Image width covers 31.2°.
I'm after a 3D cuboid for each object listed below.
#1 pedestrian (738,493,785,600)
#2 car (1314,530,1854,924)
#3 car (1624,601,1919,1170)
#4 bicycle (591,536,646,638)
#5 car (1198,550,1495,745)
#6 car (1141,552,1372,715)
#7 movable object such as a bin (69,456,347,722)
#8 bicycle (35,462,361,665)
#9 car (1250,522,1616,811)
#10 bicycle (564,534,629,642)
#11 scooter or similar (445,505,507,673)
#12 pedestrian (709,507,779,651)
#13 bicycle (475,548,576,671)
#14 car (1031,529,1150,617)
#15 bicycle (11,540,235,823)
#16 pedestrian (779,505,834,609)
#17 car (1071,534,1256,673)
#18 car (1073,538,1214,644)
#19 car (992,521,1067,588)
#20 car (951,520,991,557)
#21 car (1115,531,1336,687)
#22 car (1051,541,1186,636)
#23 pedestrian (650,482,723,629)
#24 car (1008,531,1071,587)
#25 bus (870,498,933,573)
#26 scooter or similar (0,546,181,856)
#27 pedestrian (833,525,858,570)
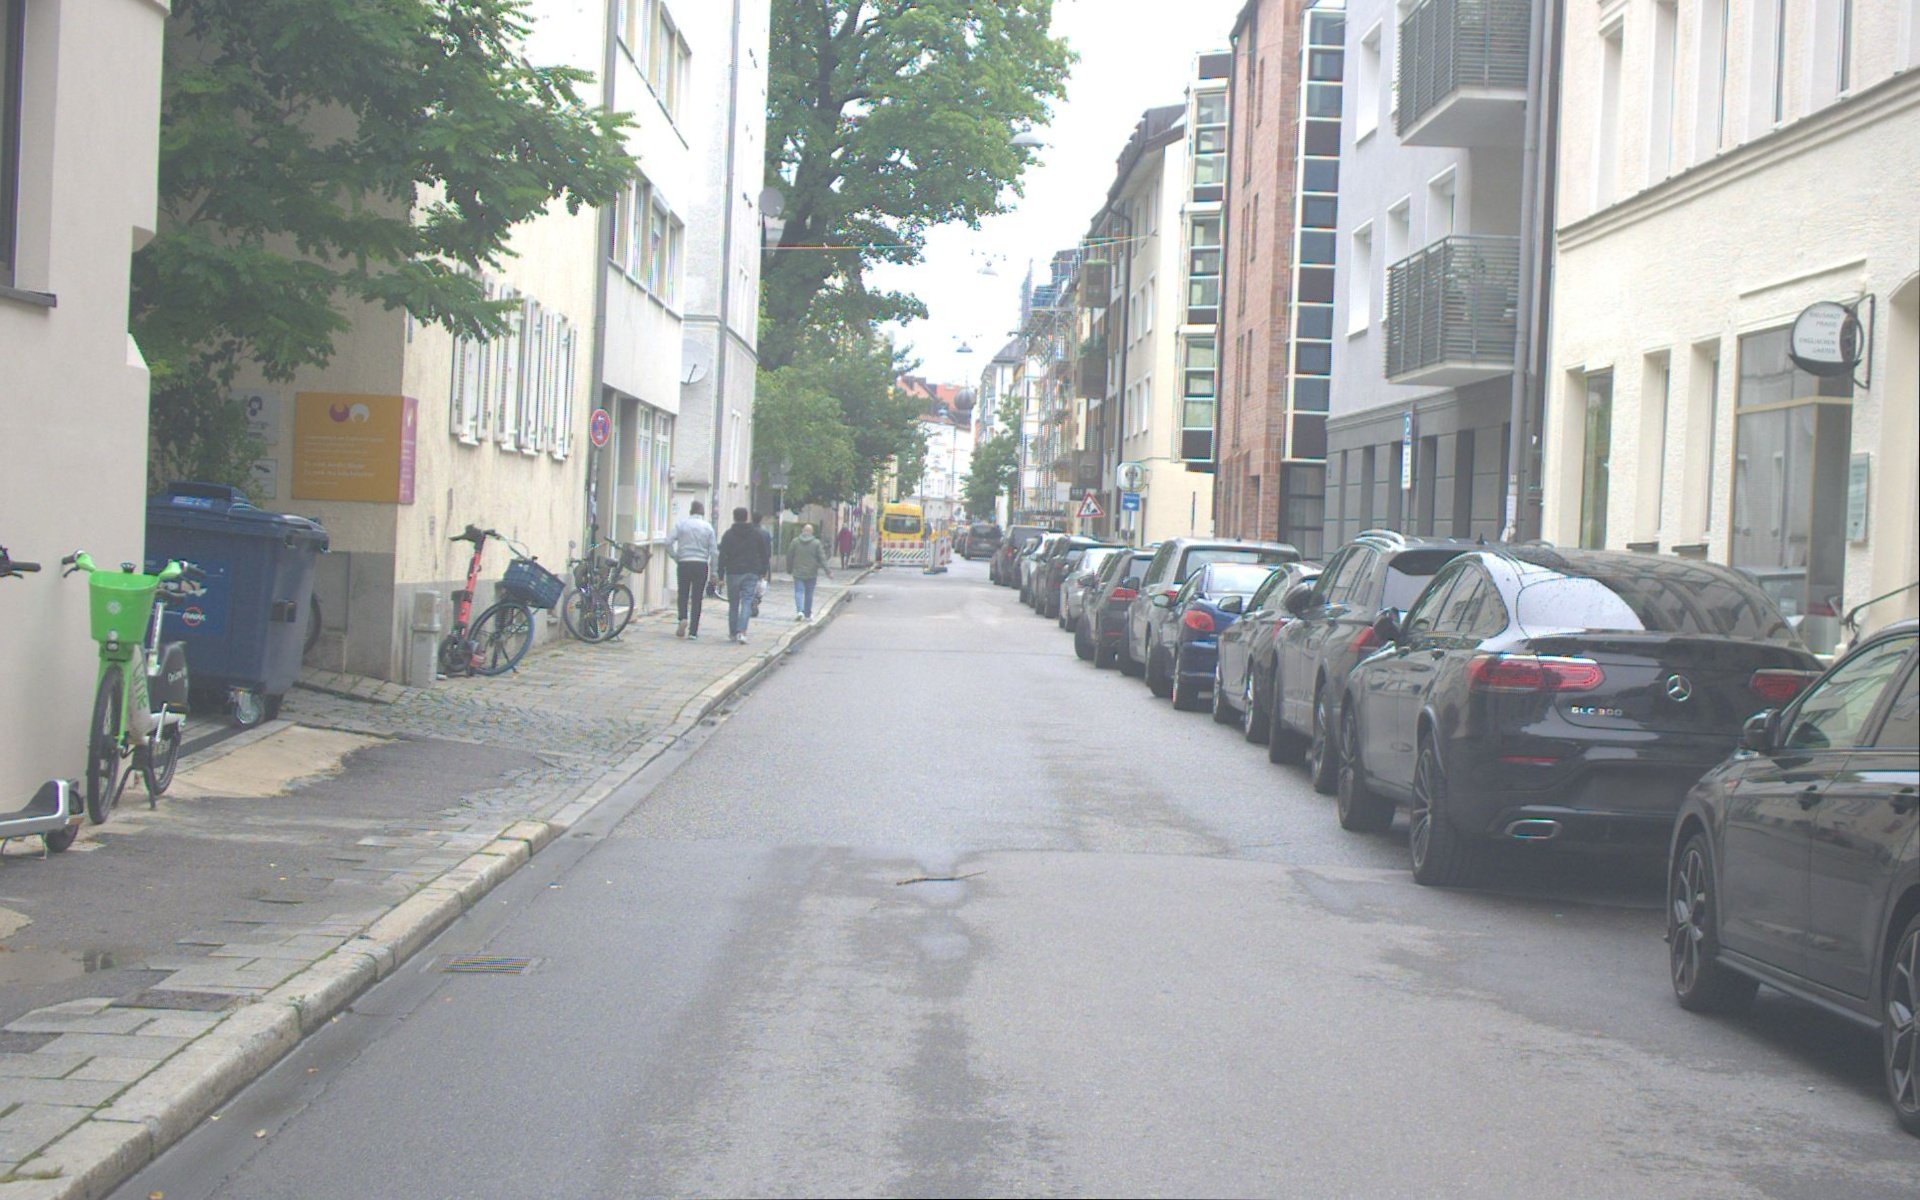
[{"bbox_3d":[-3.292,-0.887,57.043,0.612,1.707,0.823,5,1,-1],"label":"pedestrian"},{"bbox_3d":[2.926,0.502,17.139,1.702,1.601,4.685,3,1,-1],"label":"car"},{"bbox_3d":[3.337,0.785,10.598,1.676,1.388,4.066,3,1,-1],"label":"car"},{"bbox_3d":[-4.028,-0.163,40.486,0.561,1.155,1.721,3,1,-6],"label":"bicycle"},{"bbox_3d":[3.060,0.326,28.032,1.799,1.381,4.349,2,1,-1],"label":"car"},{"bbox_3d":[2.742,0.271,32.568,1.808,1.358,3.945,2,1,0],"label":"car"},{"bbox_3d":[-4.568,-0.087,20.987,1.174,1.437,1.248,8,3,5],"label":"movable object such as a bin"},{"bbox_3d":[-5.621,-0.273,25.424,2.200,1.294,0.514,5,1,-1],"label":"bicycle"},{"bbox_3d":[3.029,0.349,22.887,1.676,1.655,4.513,3,1,-1],"label":"car"},{"bbox_3d":[-4.088,-0.143,38.770,0.458,1.155,1.605,5,1,0],"label":"bicycle"},{"bbox_3d":[-4.061,-0.102,28.894,0.317,1.371,1.239,2,1,-1],"label":"scooter or similar"},{"bbox_3d":[-2.736,-0.266,43.633,0.718,1.759,0.838,4,1,0],"label":"pedestrian"},{"bbox_3d":[-3.857,0.068,30.630,0.703,0.981,1.823,7,1,-5],"label":"bicycle"},{"bbox_3d":[2.507,-0.554,67.232,1.885,1.550,4.392,3,1,-3],"label":"car"},{"bbox_3d":[-3.758,0.331,15.564,0.544,1.157,1.882,4,1,-2],"label":"bicycle"},{"bbox_3d":[-2.546,-0.713,57.012,0.753,1.653,0.906,5,1,0],"label":"pedestrian"},{"bbox_3d":[2.450,-0.001,42.370,1.839,1.523,4.293,3,1,-2],"label":"car"},{"bbox_3d":[2.776,-0.167,52.788,1.745,1.457,4.151,3,1,-2],"label":"car"},{"bbox_3d":[2.082,-1.393,103.711,1.801,1.814,4.001,6,1,-3],"label":"car"},{"bbox_3d":[0.580,-3.250,181.552,1.801,1.706,3.827,6,1,-2],"label":"car"},{"bbox_3d":[2.823,0.051,37.485,1.875,1.565,4.317,1,1,-2],"label":"car"},{"bbox_3d":[2.601,-0.225,57.387,1.836,1.412,4.601,3,1,-2],"label":"car"},{"bbox_3d":[-3.442,-0.558,43.355,0.718,1.790,0.917,4,1,0],"label":"pedestrian"},{"bbox_3d":[2.289,-1.200,99.285,1.624,1.482,3.808,3,1,0],"label":"car"},{"bbox_3d":[-2.522,-2.792,149.360,2.593,3.091,6.306,2,1,0],"label":"bus"},{"bbox_3d":[-3.688,0.375,13.500,0.552,1.140,1.357,5,1,16],"label":"scooter or similar"},{"bbox_3d":[-3.882,-1.774,116.515,0.756,1.486,0.831,2,1,0],"label":"pedestrian"}]
